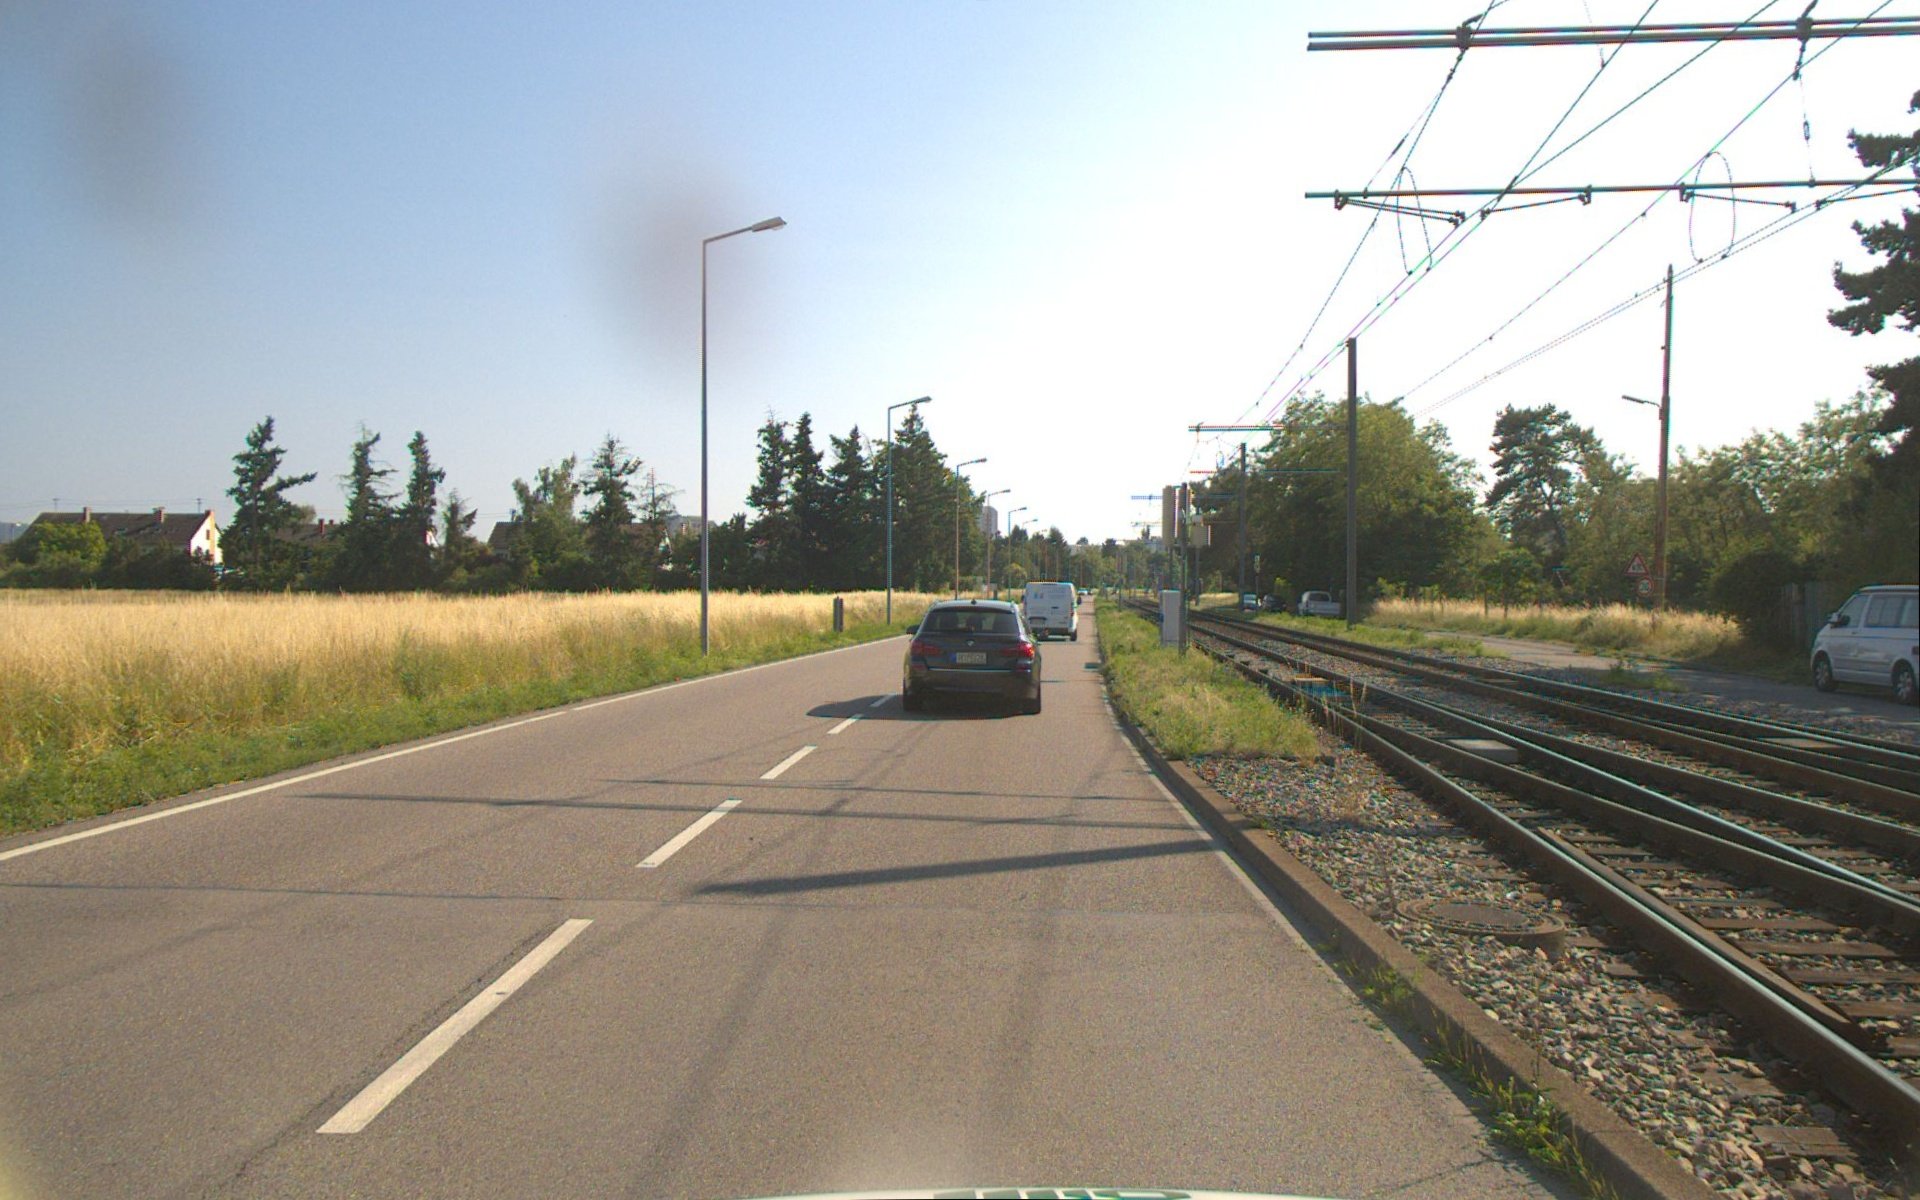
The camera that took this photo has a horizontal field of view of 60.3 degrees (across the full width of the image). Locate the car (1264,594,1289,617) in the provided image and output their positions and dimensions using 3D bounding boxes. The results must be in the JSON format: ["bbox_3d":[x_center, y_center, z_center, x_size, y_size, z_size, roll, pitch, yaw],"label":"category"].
[{"bbox_3d":[25.294,0.415,132.145,1.698,1.709,3.546,2,-1,7],"label":"car"}]

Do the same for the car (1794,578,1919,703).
[{"bbox_3d":[16.774,0.703,28.972,1.952,2.039,5.069,3,0,4],"label":"car"}]

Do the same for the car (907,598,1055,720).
[{"bbox_3d":[0.295,0.743,23.181,1.830,1.478,4.744,1,0,1],"label":"car"}]

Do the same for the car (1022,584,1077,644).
[{"bbox_3d":[3.187,0.449,58.835,1.819,2.023,5.110,1,1,3],"label":"car"}]

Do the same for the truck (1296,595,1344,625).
[{"bbox_3d":[22.658,0.602,104.302,2.158,1.851,5.932,1,0,4],"label":"truck"}]

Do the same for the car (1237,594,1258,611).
[{"bbox_3d":[26.101,0.229,150.316,1.587,1.423,3.491,2,-1,5],"label":"car"}]
